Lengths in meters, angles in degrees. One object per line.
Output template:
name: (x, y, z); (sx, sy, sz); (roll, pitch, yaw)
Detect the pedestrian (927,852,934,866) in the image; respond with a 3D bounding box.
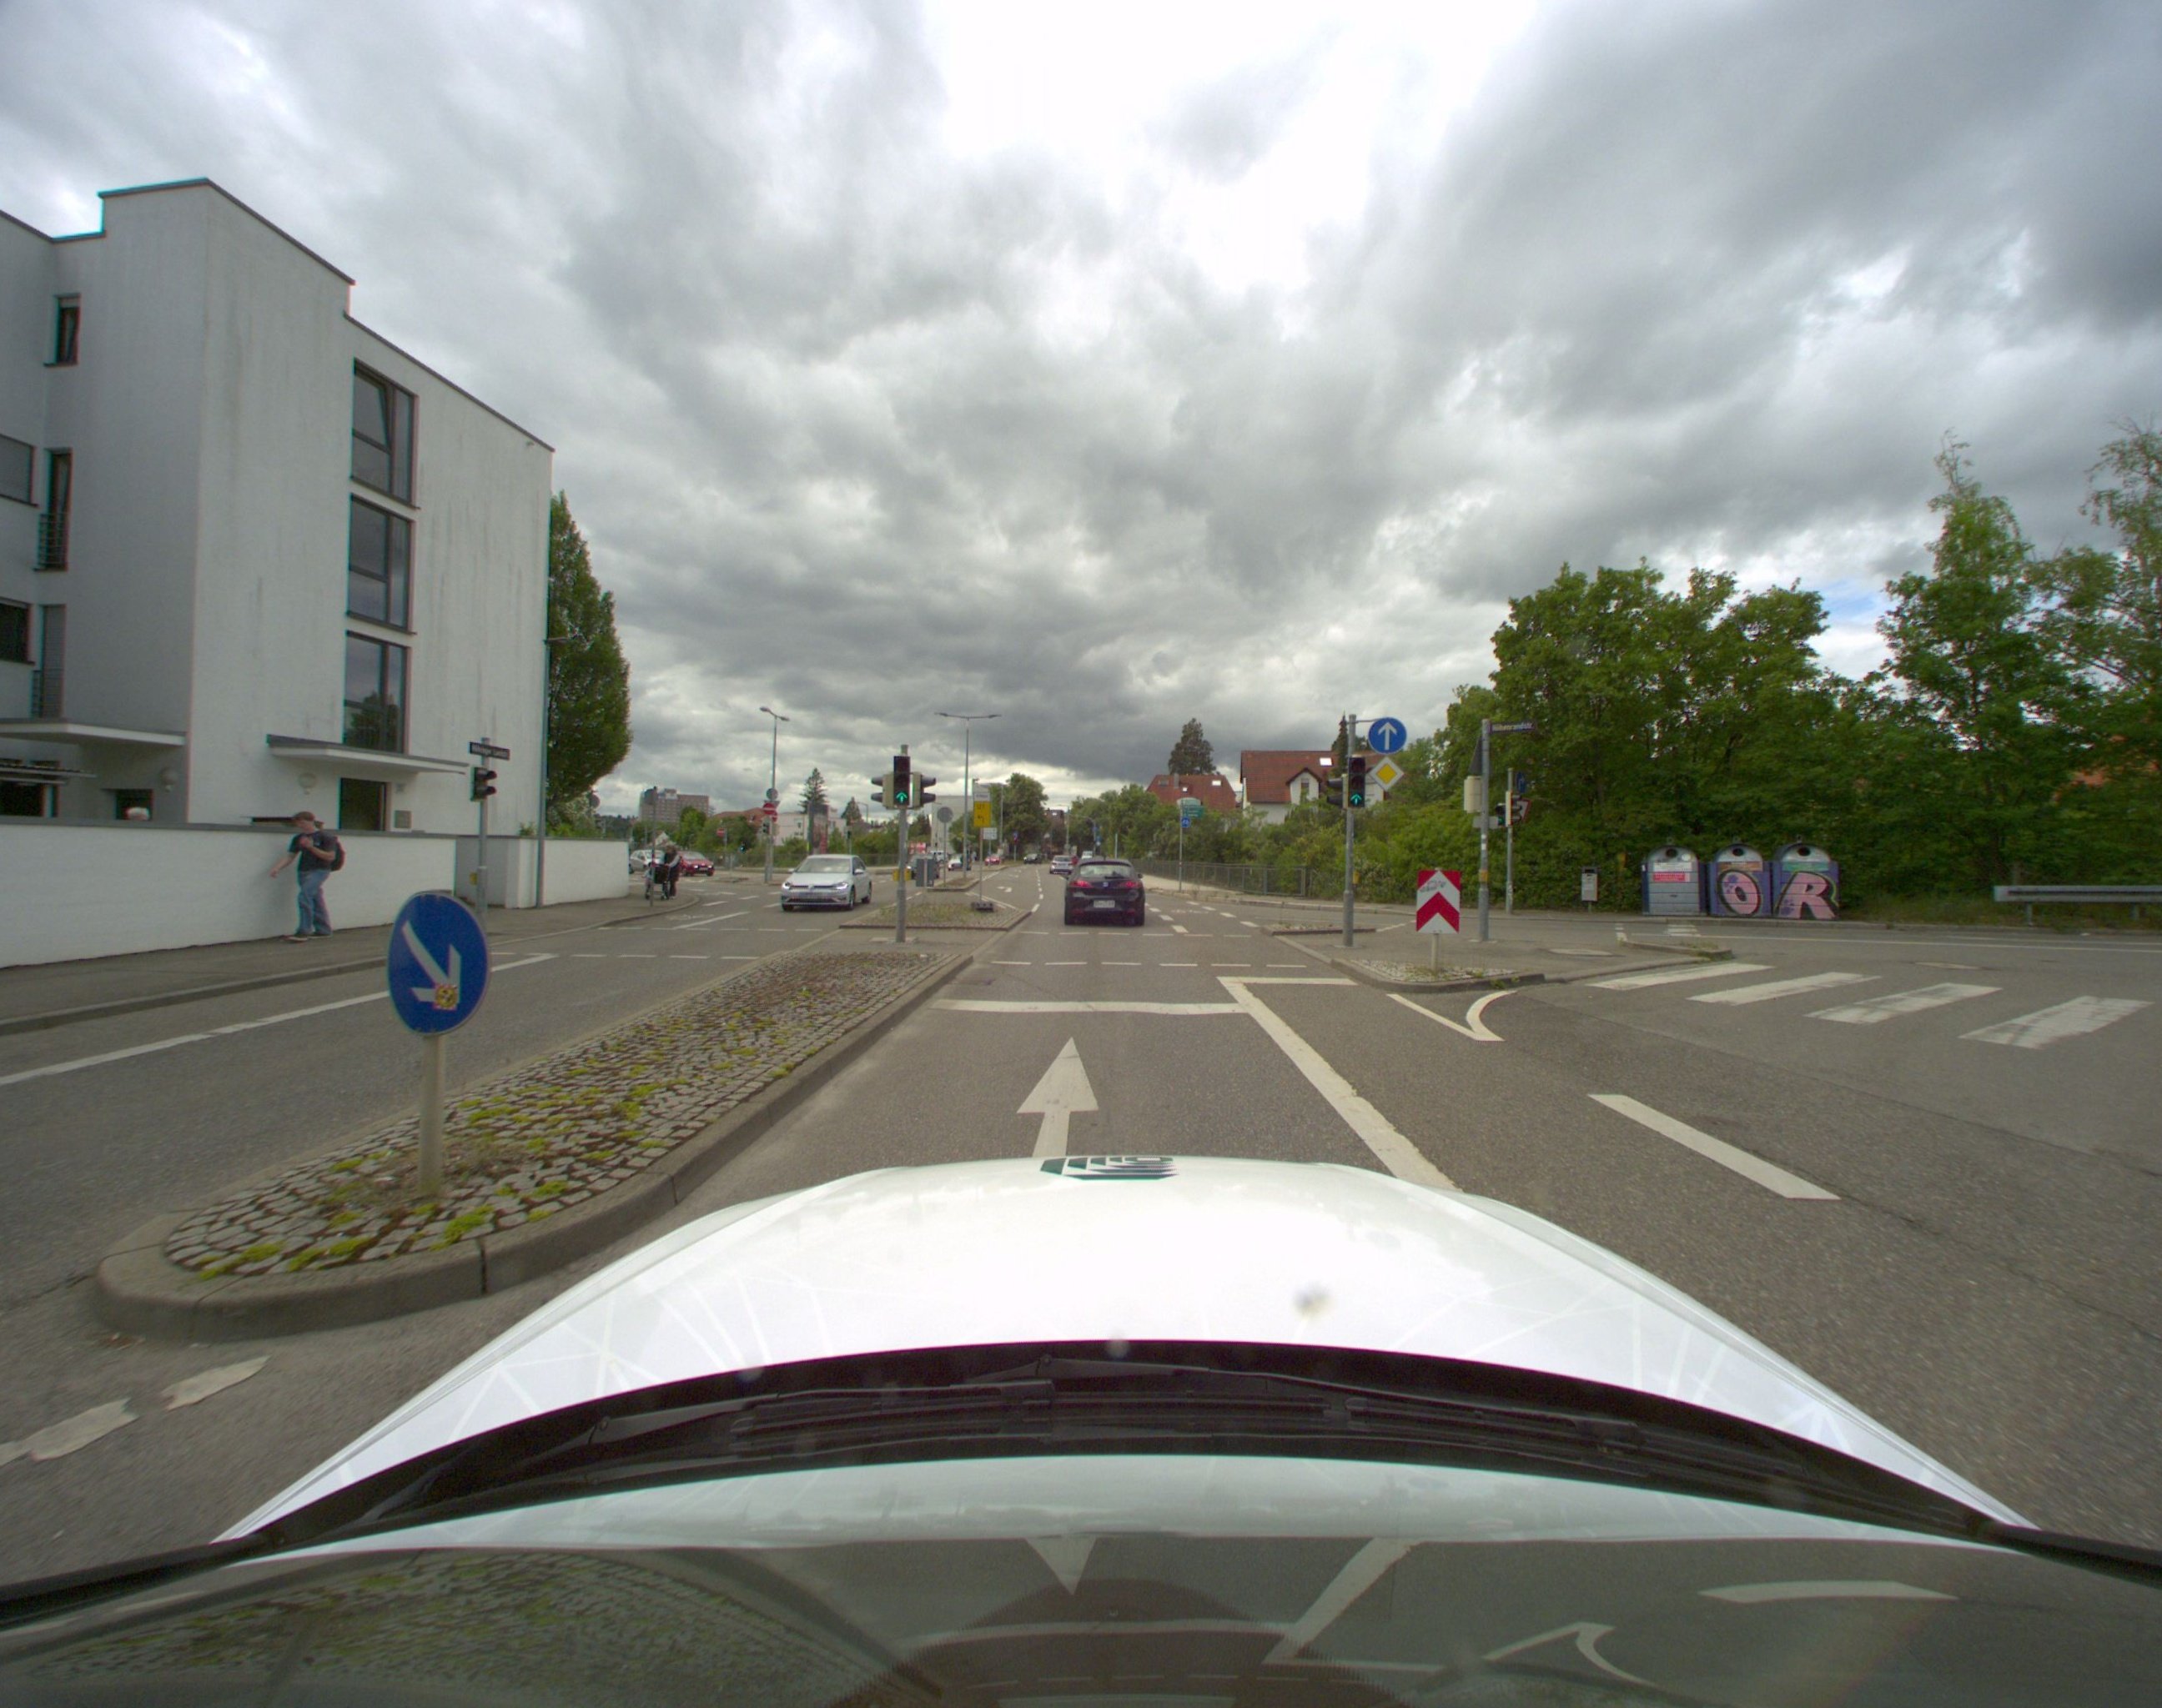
pedestrian: (-17.571, 0.545, 95.050); (0.656, 1.633, 1.067); (2, -1, -9)

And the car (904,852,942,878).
car: (-8.997, 0.629, 46.548); (1.717, 1.391, 3.911); (-1, 0, -5)

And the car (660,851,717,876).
car: (-23.745, 0.594, 49.230); (3.655, 1.447, 1.786); (-1, 0, 40)

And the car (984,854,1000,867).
car: (-10.466, 0.763, 95.822); (1.717, 1.448, 4.059); (1, 0, -5)

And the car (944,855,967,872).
car: (-10.641, 0.804, 69.240); (1.640, 1.409, 3.812); (1, 0, -5)

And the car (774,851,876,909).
car: (-6.882, 0.655, 22.294); (1.795, 1.444, 3.941); (0, 0, -5)

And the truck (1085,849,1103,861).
truck: (2.510, 0.264, 159.324); (2.111, 2.264, 6.829); (0, 0, 13)

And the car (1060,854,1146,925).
car: (0.475, 0.725, 18.571); (1.753, 1.449, 3.714); (0, 0, 0)

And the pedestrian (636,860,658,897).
pedestrian: (-12.615, 0.704, 23.665); (0.325, 1.062, 0.443); (4, -1, -5)

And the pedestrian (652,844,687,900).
pedestrian: (-11.893, 0.505, 23.552); (0.530, 1.543, 0.730); (5, -1, -6)

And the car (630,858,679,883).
car: (-27.923, 1.067, 53.261); (4.078, 1.535, 1.657); (-1, 0, 45)

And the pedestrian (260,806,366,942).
pedestrian: (-11.586, 0.296, 12.319); (0.647, 1.948, 0.871); (3, -1, -3)

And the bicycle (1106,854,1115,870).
bicycle: (2.843, 0.734, 78.904); (0.888, 1.510, 2.784); (0, 0, 2)

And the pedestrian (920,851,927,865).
pedestrian: (-18.338, 0.443, 94.962); (0.656, 1.633, 0.830); (2, -1, -9)

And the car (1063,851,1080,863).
car: (-1.233, 0.413, 107.637); (1.938, 1.481, 4.245); (0, 0, -5)

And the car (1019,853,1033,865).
car: (-7.898, 0.659, 116.254); (1.820, 1.626, 4.271); (1, 0, -5)

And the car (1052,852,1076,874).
car: (-1.375, 0.726, 65.297); (1.814, 1.699, 4.249); (0, 0, -3)

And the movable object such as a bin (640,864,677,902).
movable object such as a bin: (-11.805, 0.801, 22.754); (0.496, 0.960, 0.984); (5, -1, -5)
